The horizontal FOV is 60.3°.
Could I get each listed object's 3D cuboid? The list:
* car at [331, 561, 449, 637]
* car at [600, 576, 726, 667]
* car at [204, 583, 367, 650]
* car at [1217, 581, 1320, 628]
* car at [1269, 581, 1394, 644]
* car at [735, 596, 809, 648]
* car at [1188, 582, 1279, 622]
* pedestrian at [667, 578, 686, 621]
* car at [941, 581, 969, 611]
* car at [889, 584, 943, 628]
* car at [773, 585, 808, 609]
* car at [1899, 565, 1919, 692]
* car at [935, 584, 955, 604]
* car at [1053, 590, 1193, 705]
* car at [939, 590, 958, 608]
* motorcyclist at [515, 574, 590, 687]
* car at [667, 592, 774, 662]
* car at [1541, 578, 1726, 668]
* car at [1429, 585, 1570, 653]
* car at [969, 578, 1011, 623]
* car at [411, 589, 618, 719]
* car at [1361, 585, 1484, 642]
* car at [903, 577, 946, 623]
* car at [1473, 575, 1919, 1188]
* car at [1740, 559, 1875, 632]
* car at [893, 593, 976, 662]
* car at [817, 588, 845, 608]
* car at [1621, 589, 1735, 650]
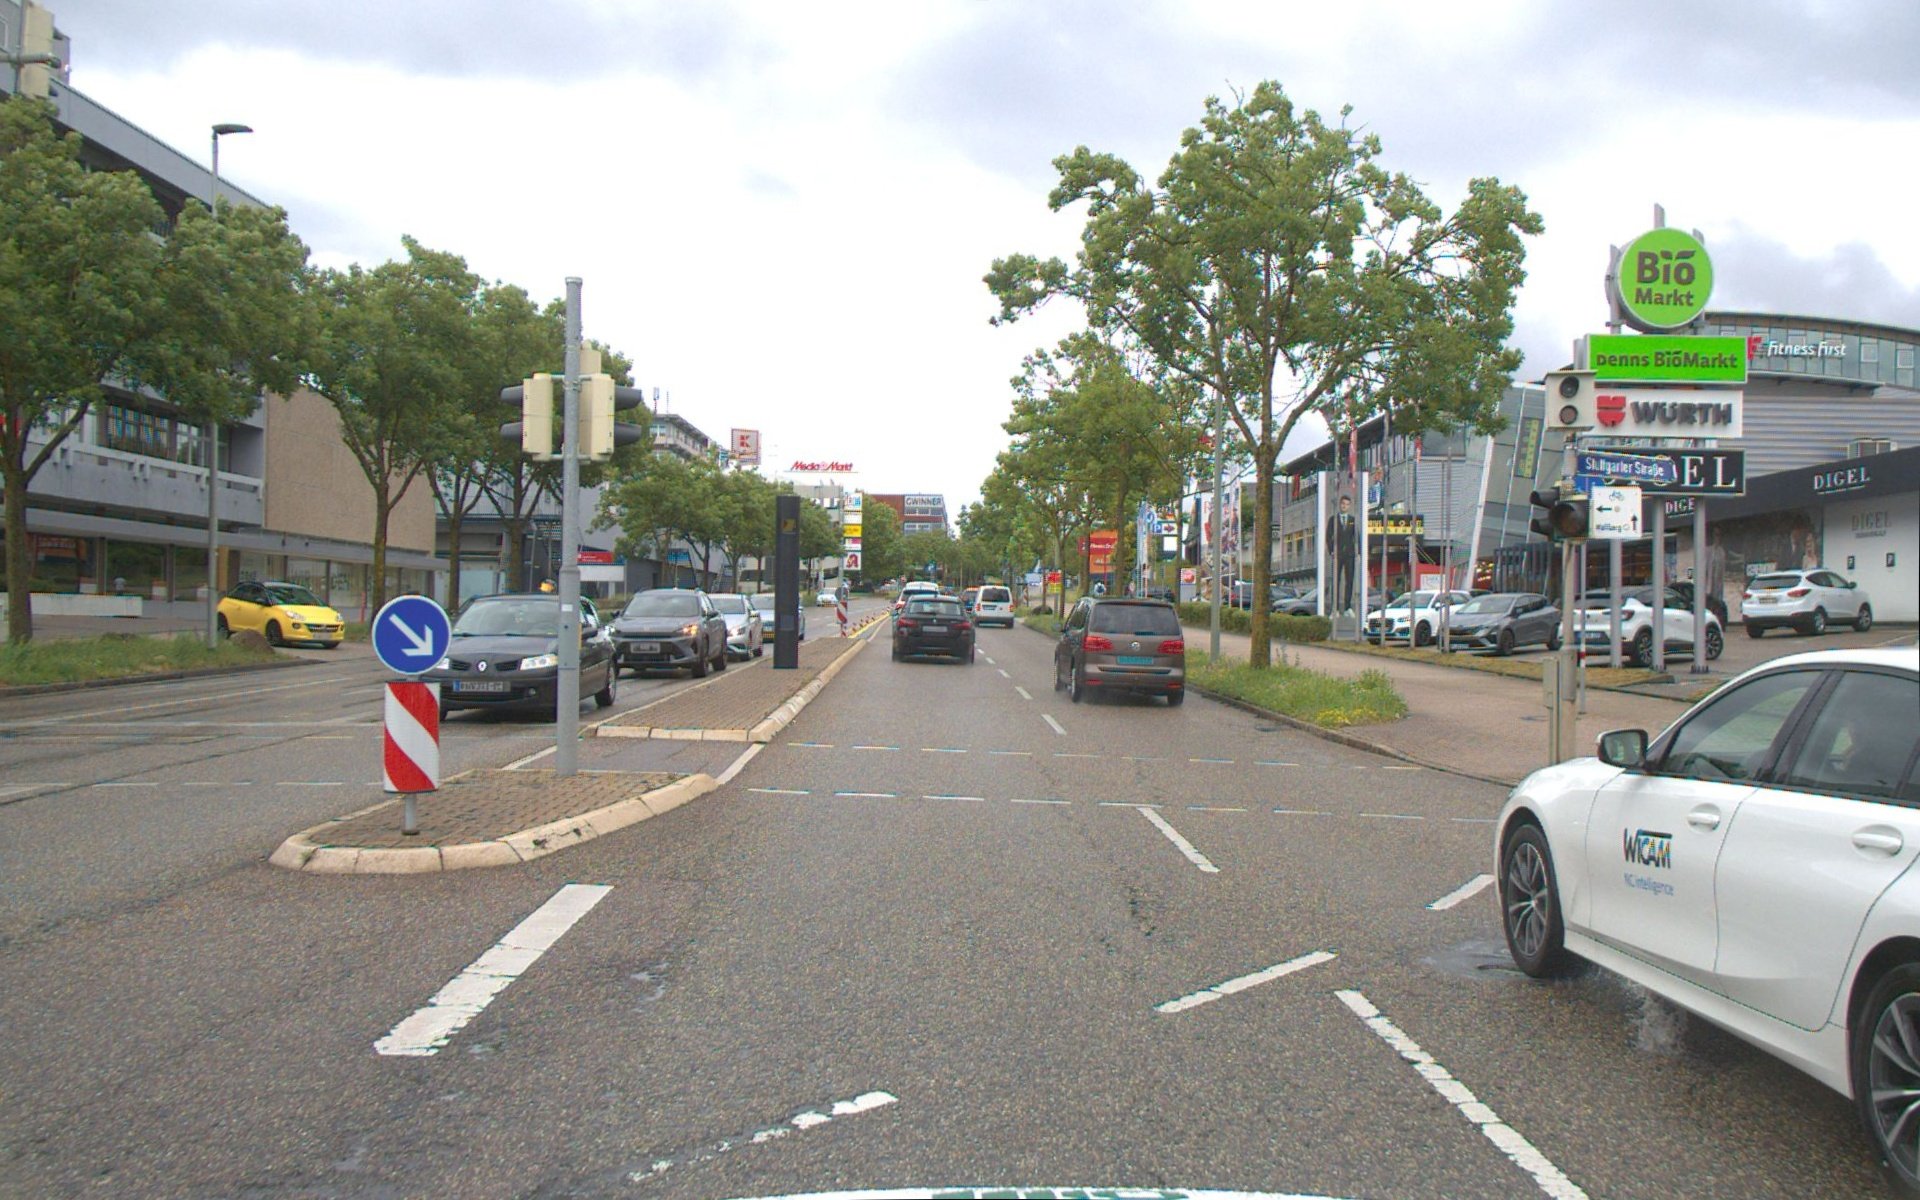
[{"bbox_3d":[-16.682,0.018,48.629,1.953,2.049,4.000,2,-1,0],"label":"car"},{"bbox_3d":[-5.293,0.362,30.022,1.710,1.515,4.825,1,0,-4],"label":"car"},{"bbox_3d":[-16.633,0.380,40.731,3.917,1.579,1.894,0,0,34],"label":"car"},{"bbox_3d":[12.928,0.196,69.475,4.026,1.938,1.800,0,0,1],"label":"car"},{"bbox_3d":[13.110,0.428,58.558,4.026,2.142,1.800,1,0,1],"label":"car"},{"bbox_3d":[-5.534,0.628,49.199,1.688,1.422,4.788,-2,0,-1],"label":"car"},{"bbox_3d":[12.653,0.087,76.615,4.024,1.733,1.801,1,0,5],"label":"car"},{"bbox_3d":[-15.039,-0.039,87.688,0.842,2.257,0.845,1,0,-4],"label":"pedestrian"},{"bbox_3d":[-0.311,-0.217,103.770,1.650,1.713,3.402,2,-1,0],"label":"car"},{"bbox_3d":[-1.495,0.194,55.395,1.649,1.401,3.997,1,0,-4],"label":"car"},{"bbox_3d":[-10.938,-0.177,106.980,1.904,1.478,3.999,2,0,-1],"label":"car"},{"bbox_3d":[14.090,0.381,22.134,1.897,1.604,4.264,0,0,41],"label":"car"},{"bbox_3d":[-1.272,-0.476,135.846,1.562,1.500,3.443,3,-1,-1],"label":"car"},{"bbox_3d":[2.517,0.699,26.509,1.764,1.614,4.450,3,0,0],"label":"car"},{"bbox_3d":[-1.060,-0.049,151.661,1.587,1.521,3.359,3,-1,-1],"label":"car"},{"bbox_3d":[-5.949,0.434,24.190,0.790,1.586,1.267,1,0,-2],"label":"motorcyclist"},{"bbox_3d":[-5.332,0.575,37.314,1.803,1.401,4.861,-2,0,-2],"label":"car"},{"bbox_3d":[13.975,0.436,34.239,3.990,1.692,1.954,-2,1,-40],"label":"car"},{"bbox_3d":[13.061,0.444,39.976,3.565,1.563,1.620,1,0,-40],"label":"car"},{"bbox_3d":[1.300,0.032,73.144,1.745,1.899,3.999,0,0,-1],"label":"car"},{"bbox_3d":[-5.250,0.594,19.970,1.649,1.401,3.997,1,0,-4],"label":"car"},{"bbox_3d":[13.344,0.363,47.680,3.565,1.563,1.771,0,0,-40],"label":"car"},{"bbox_3d":[-1.695,0.023,80.820,1.953,2.049,3.999,2,-1,0],"label":"car"},{"bbox_3d":[3.354,0.771,5.503,1.764,1.571,4.619,3,-1,-1],"label":"car"},{"bbox_3d":[22.180,-0.098,43.219,4.115,1.802,1.713,1,0,-40],"label":"car"},{"bbox_3d":[-0.573,0.602,37.335,1.745,1.422,3.999,2,0,-1],"label":"car"},{"bbox_3d":[-9.948,-0.132,128.065,1.904,1.474,3.999,2,0,-1],"label":"car"},{"bbox_3d":[21.686,0.579,49.883,3.938,1.750,1.610,1,0,-40],"label":"car"}]
